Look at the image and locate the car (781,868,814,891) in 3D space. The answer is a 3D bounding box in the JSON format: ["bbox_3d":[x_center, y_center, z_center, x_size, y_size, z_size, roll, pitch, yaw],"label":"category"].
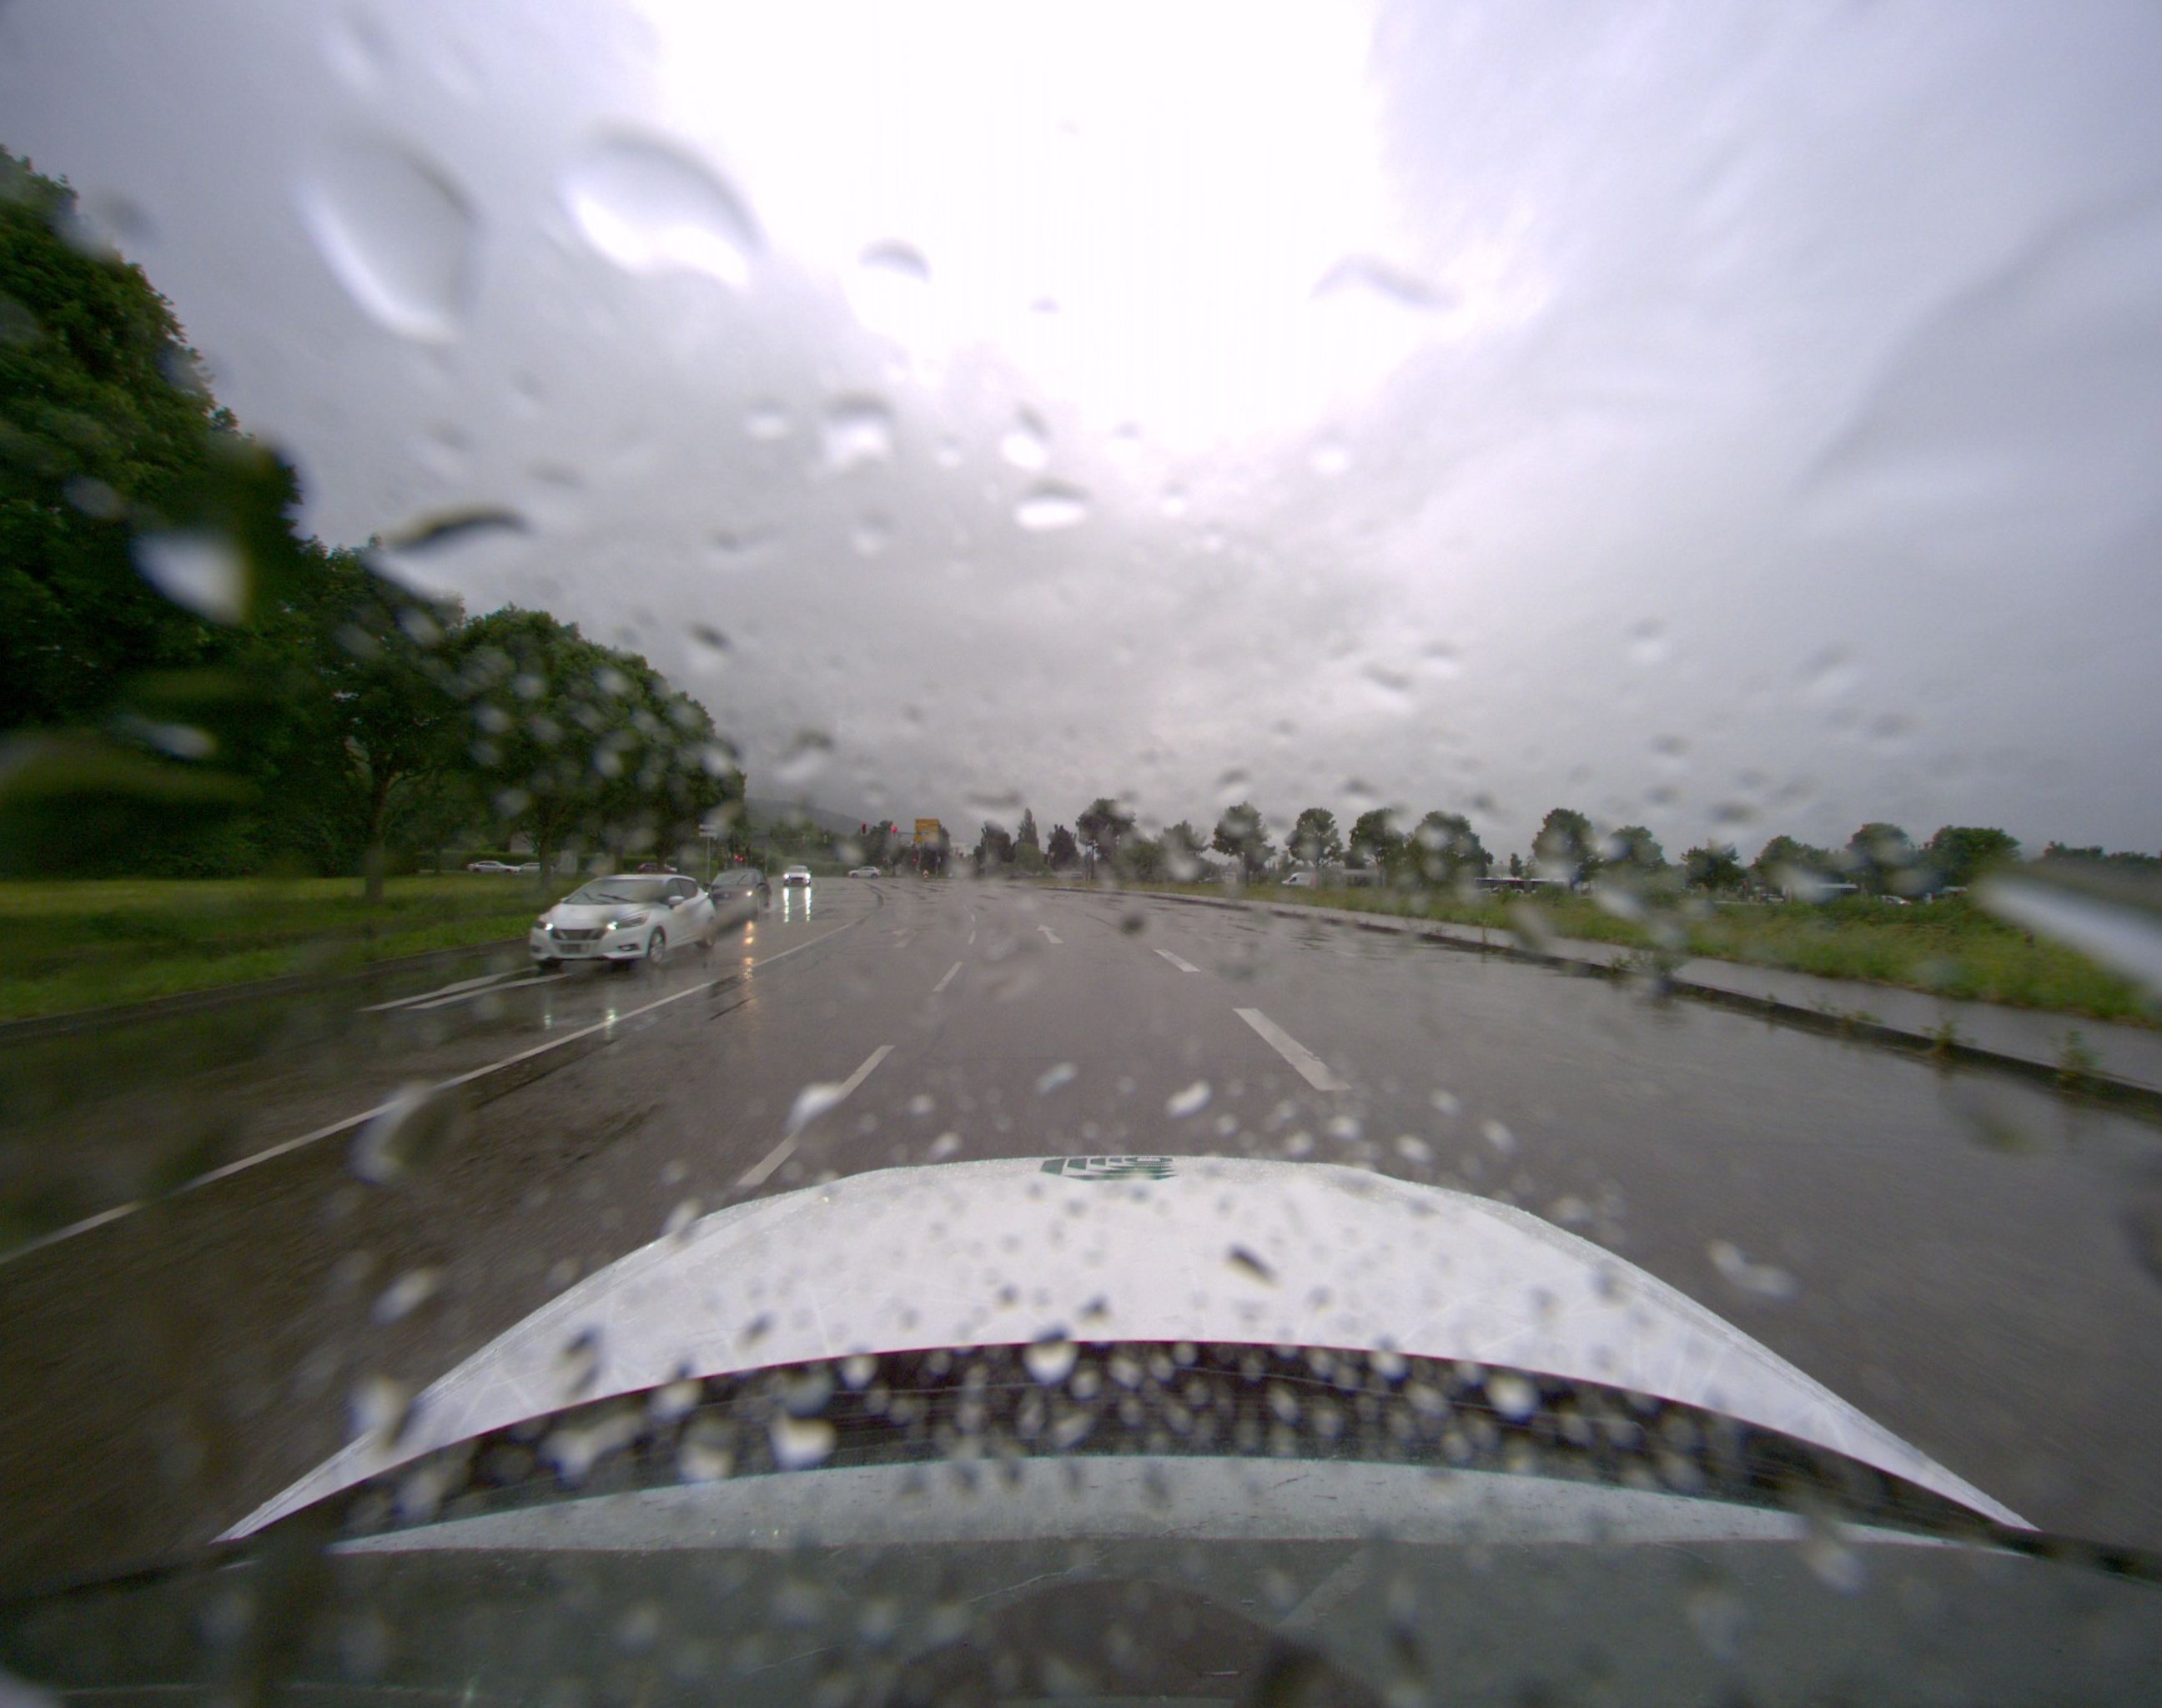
[{"bbox_3d":[-20.880,1.872,60.099,1.882,1.573,4.621,-1,-1,-14],"label":"car"}]

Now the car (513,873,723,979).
[{"bbox_3d":[-7.662,1.099,13.954,1.738,1.487,3.999,-1,-1,-8],"label":"car"}]

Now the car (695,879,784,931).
[{"bbox_3d":[-11.652,1.688,28.073,1.885,1.588,4.103,2,-2,-10],"label":"car"}]

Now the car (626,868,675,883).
[{"bbox_3d":[-47.714,2.398,90.356,4.377,1.580,1.725,1,-2,-12],"label":"car"}]

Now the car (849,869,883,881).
[{"bbox_3d":[-29.230,2.804,110.661,4.382,1.580,1.723,1,-2,-15],"label":"car"}]

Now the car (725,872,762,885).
[{"bbox_3d":[-44.120,3.161,106.552,4.237,1.580,1.725,1,-2,-12],"label":"car"}]

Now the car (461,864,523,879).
[{"bbox_3d":[-62.625,1.910,86.669,4.892,1.554,1.789,1,-1,-17],"label":"car"}]

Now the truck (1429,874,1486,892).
[{"bbox_3d":[62.120,4.779,134.401,8.826,2.832,2.644,2,-2,-13],"label":"truck"}]

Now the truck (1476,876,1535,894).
[{"bbox_3d":[71.216,5.253,136.535,9.329,2.773,2.644,2,-2,-13],"label":"truck"}]
